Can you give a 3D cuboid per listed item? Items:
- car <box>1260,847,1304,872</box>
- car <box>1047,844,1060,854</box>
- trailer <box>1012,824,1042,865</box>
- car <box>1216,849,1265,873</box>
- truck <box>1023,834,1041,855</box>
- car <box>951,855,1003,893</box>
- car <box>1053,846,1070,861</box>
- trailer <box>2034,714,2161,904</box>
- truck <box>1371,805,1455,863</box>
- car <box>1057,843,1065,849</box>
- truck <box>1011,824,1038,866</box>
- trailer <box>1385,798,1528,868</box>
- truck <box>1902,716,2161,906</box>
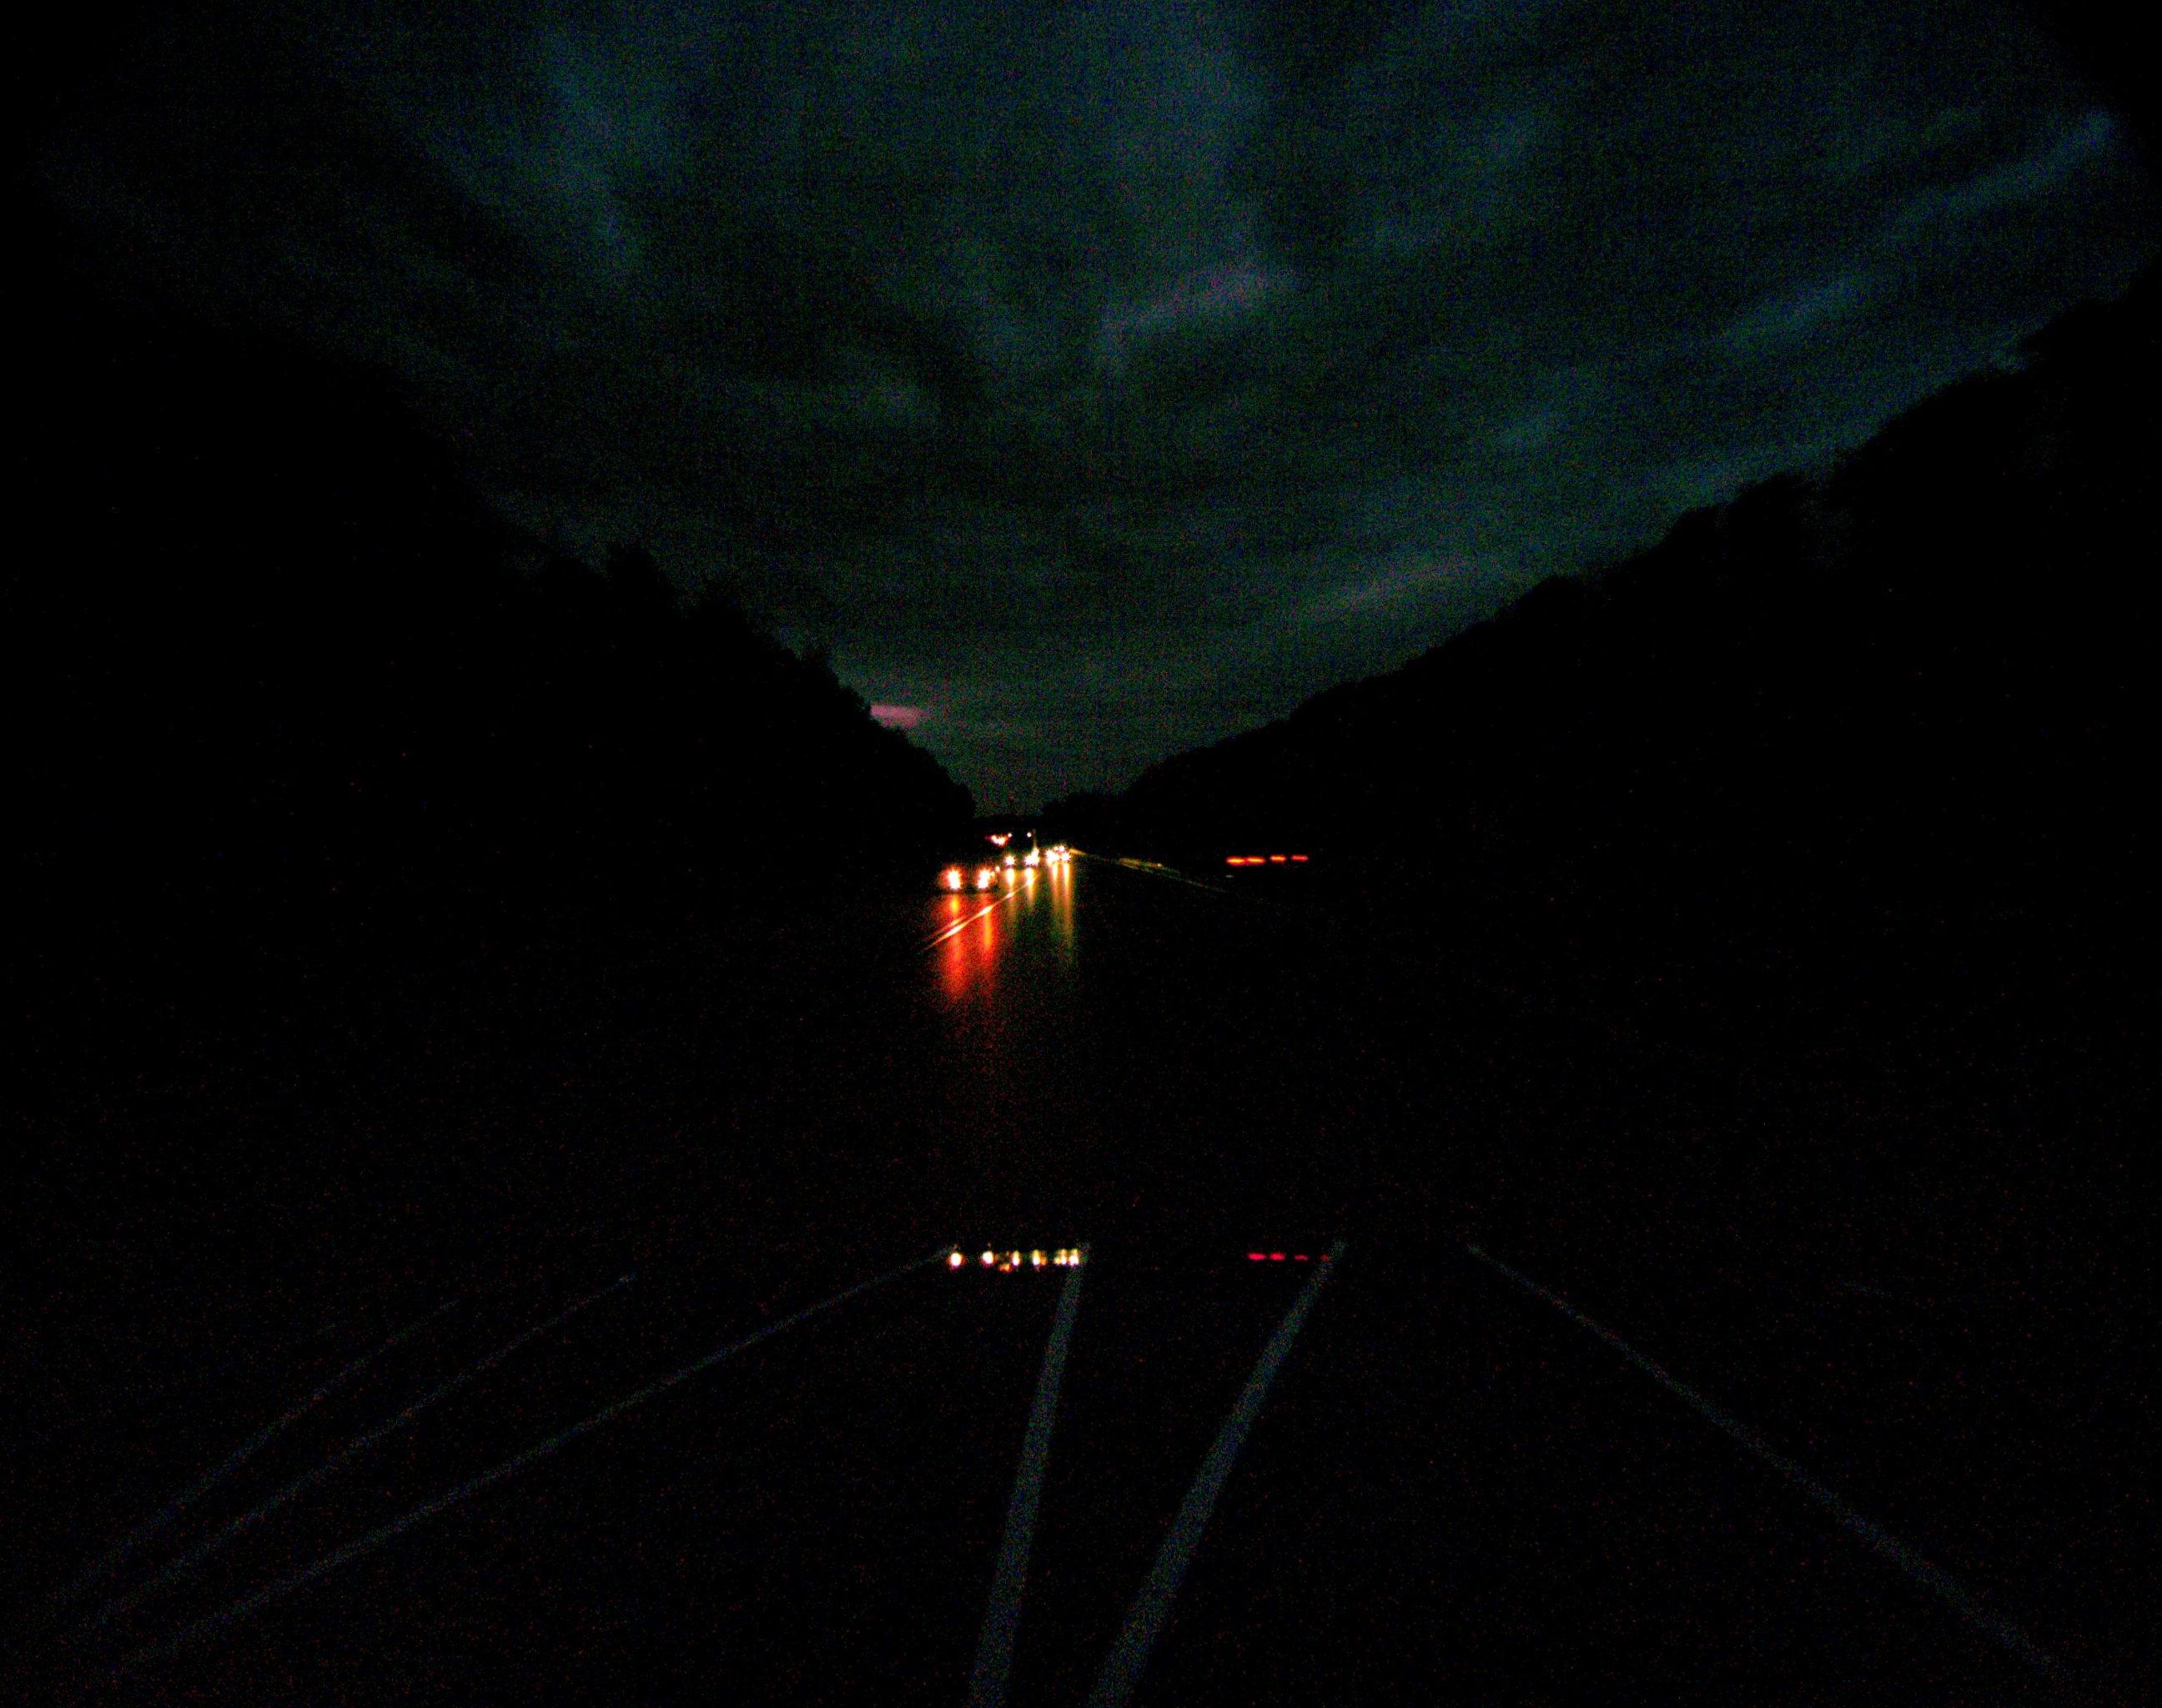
[{"bbox_3d":[13.151,0.323,49.974,1.690,1.506,4.414,-1,1,0],"label":"car"},{"bbox_3d":[-4.935,-0.917,137.121,1.924,1.706,4.938,-2,2,-7],"label":"car"},{"bbox_3d":[-5.840,-1.214,83.738,2.489,4.050,13.498,-2,2,-1],"label":"trailer"},{"bbox_3d":[9.700,0.379,46.512,1.855,1.373,4.643,-1,0,-2],"label":"car"},{"bbox_3d":[-10.514,-2.142,161.149,3.342,3.946,13.526,-2,2,-5],"label":"truck"},{"bbox_3d":[-4.521,0.820,33.680,1.696,1.481,4.948,-2,0,-1],"label":"car"},{"bbox_3d":[-2.438,-0.118,95.188,1.870,1.701,4.583,-2,1,0],"label":"car"},{"bbox_3d":[24.698,-0.911,11.425,3.199,4.081,14.181,-2,1,1],"label":"trailer"},{"bbox_3d":[25.299,-1.522,58.363,3.199,4.081,7.688,-2,1,1],"label":"truck"},{"bbox_3d":[-5.158,-2.094,196.800,1.696,1.481,4.945,-1,1,-6],"label":"car"},{"bbox_3d":[-5.617,-0.950,76.442,2.498,3.946,5.587,-2,2,-3],"label":"truck"},{"bbox_3d":[25.160,-1.400,52.178,3.199,4.081,13.737,-2,1,1],"label":"trailer"},{"bbox_3d":[24.837,-0.989,17.708,3.199,4.081,7.688,-2,1,1],"label":"truck"}]
